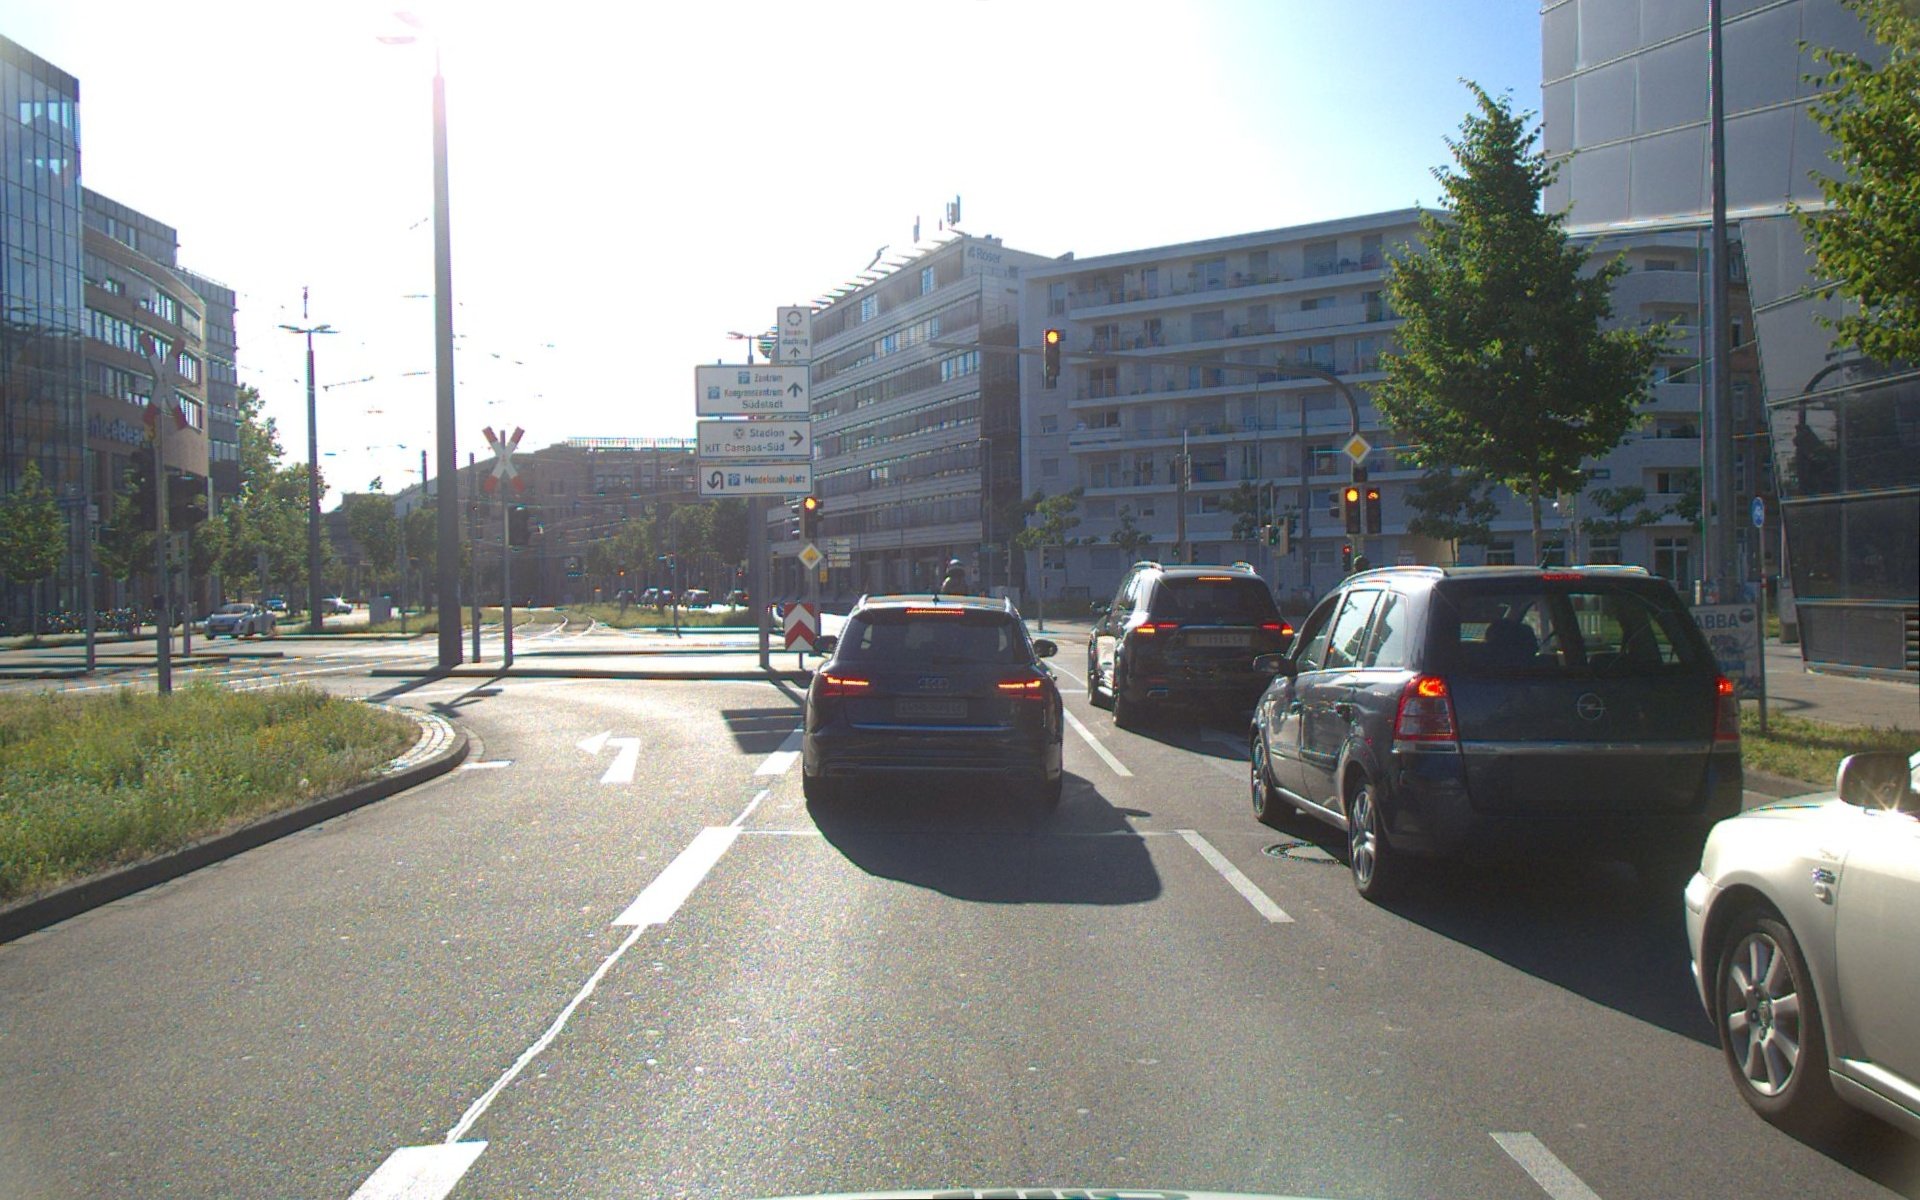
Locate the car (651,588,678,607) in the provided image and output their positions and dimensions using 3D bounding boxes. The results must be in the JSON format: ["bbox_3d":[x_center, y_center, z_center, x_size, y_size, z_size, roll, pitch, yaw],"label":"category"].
[{"bbox_3d":[-26.464,-0.225,148.208,1.961,1.624,3.983,-2,0,-16],"label":"car"}]

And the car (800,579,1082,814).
[{"bbox_3d":[-0.157,0.599,12.656,1.805,1.479,3.999,1,1,-1],"label":"car"}]

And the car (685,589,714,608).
[{"bbox_3d":[-22.991,-0.121,145.702,1.962,1.624,3.981,-2,0,-17],"label":"car"}]

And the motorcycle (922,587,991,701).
[{"bbox_3d":[-0.048,0.543,21.690,0.845,1.417,1.893,-1,0,-1],"label":"motorcycle"}]

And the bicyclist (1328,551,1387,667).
[{"bbox_3d":[5.843,0.120,24.353,0.640,1.671,0.972,-1,1,2],"label":"bicyclist"}]

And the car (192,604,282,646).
[{"bbox_3d":[-29.908,1.019,68.584,1.954,1.572,4.527,-1,1,-4],"label":"car"}]

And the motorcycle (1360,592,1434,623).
[{"bbox_3d":[14.847,0.254,56.289,2.400,1.018,1.172,-1,0,14],"label":"motorcycle"}]

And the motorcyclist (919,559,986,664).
[{"bbox_3d":[-0.101,0.145,21.741,0.845,1.349,0.681,-1,0,-1],"label":"motorcyclist"}]

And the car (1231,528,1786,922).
[{"bbox_3d":[2.783,0.543,9.466,1.710,1.725,4.260,1,0,-1],"label":"car"}]

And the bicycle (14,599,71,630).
[{"bbox_3d":[-46.308,0.737,83.510,2.319,1.458,1.077,-2,0,8],"label":"bicycle"}]

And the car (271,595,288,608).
[{"bbox_3d":[-86.567,0.229,210.445,1.631,1.616,3.328,-1,0,-28],"label":"car"}]

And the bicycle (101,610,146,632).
[{"bbox_3d":[-50.333,1.255,99.534,2.362,1.257,0.745,-2,0,8],"label":"bicycle"}]

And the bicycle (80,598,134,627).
[{"bbox_3d":[-46.157,0.669,89.478,2.507,1.458,0.905,-2,0,8],"label":"bicycle"}]

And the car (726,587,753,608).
[{"bbox_3d":[-21.105,-0.212,158.003,1.961,1.870,3.983,-2,0,-16],"label":"car"}]

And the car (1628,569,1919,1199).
[{"bbox_3d":[3.081,0.673,3.210,1.710,1.507,4.628,-1,0,0],"label":"car"}]

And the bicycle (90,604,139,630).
[{"bbox_3d":[-50.162,0.998,98.110,2.551,1.458,0.772,-2,0,8],"label":"bicycle"}]

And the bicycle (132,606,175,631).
[{"bbox_3d":[-50.514,1.144,103.595,2.369,1.458,0.789,-2,0,8],"label":"bicycle"}]

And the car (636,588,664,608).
[{"bbox_3d":[-28.956,-0.199,154.493,1.963,1.735,3.978,-2,0,-19],"label":"car"}]

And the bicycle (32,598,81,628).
[{"bbox_3d":[-46.171,0.672,84.514,2.039,1.458,0.861,-2,0,8],"label":"bicycle"}]

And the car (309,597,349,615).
[{"bbox_3d":[-59.407,0.543,155.810,3.280,1.616,1.654,-1,0,24],"label":"car"}]

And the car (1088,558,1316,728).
[{"bbox_3d":[2.684,0.417,19.362,1.962,1.745,4.372,1,1,-1],"label":"car"}]

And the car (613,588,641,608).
[{"bbox_3d":[-30.900,-0.203,153.361,1.963,1.735,3.978,-2,0,-19],"label":"car"}]

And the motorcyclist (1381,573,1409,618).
[{"bbox_3d":[14.793,-0.169,56.283,0.905,1.507,1.172,-1,0,14],"label":"motorcyclist"}]
